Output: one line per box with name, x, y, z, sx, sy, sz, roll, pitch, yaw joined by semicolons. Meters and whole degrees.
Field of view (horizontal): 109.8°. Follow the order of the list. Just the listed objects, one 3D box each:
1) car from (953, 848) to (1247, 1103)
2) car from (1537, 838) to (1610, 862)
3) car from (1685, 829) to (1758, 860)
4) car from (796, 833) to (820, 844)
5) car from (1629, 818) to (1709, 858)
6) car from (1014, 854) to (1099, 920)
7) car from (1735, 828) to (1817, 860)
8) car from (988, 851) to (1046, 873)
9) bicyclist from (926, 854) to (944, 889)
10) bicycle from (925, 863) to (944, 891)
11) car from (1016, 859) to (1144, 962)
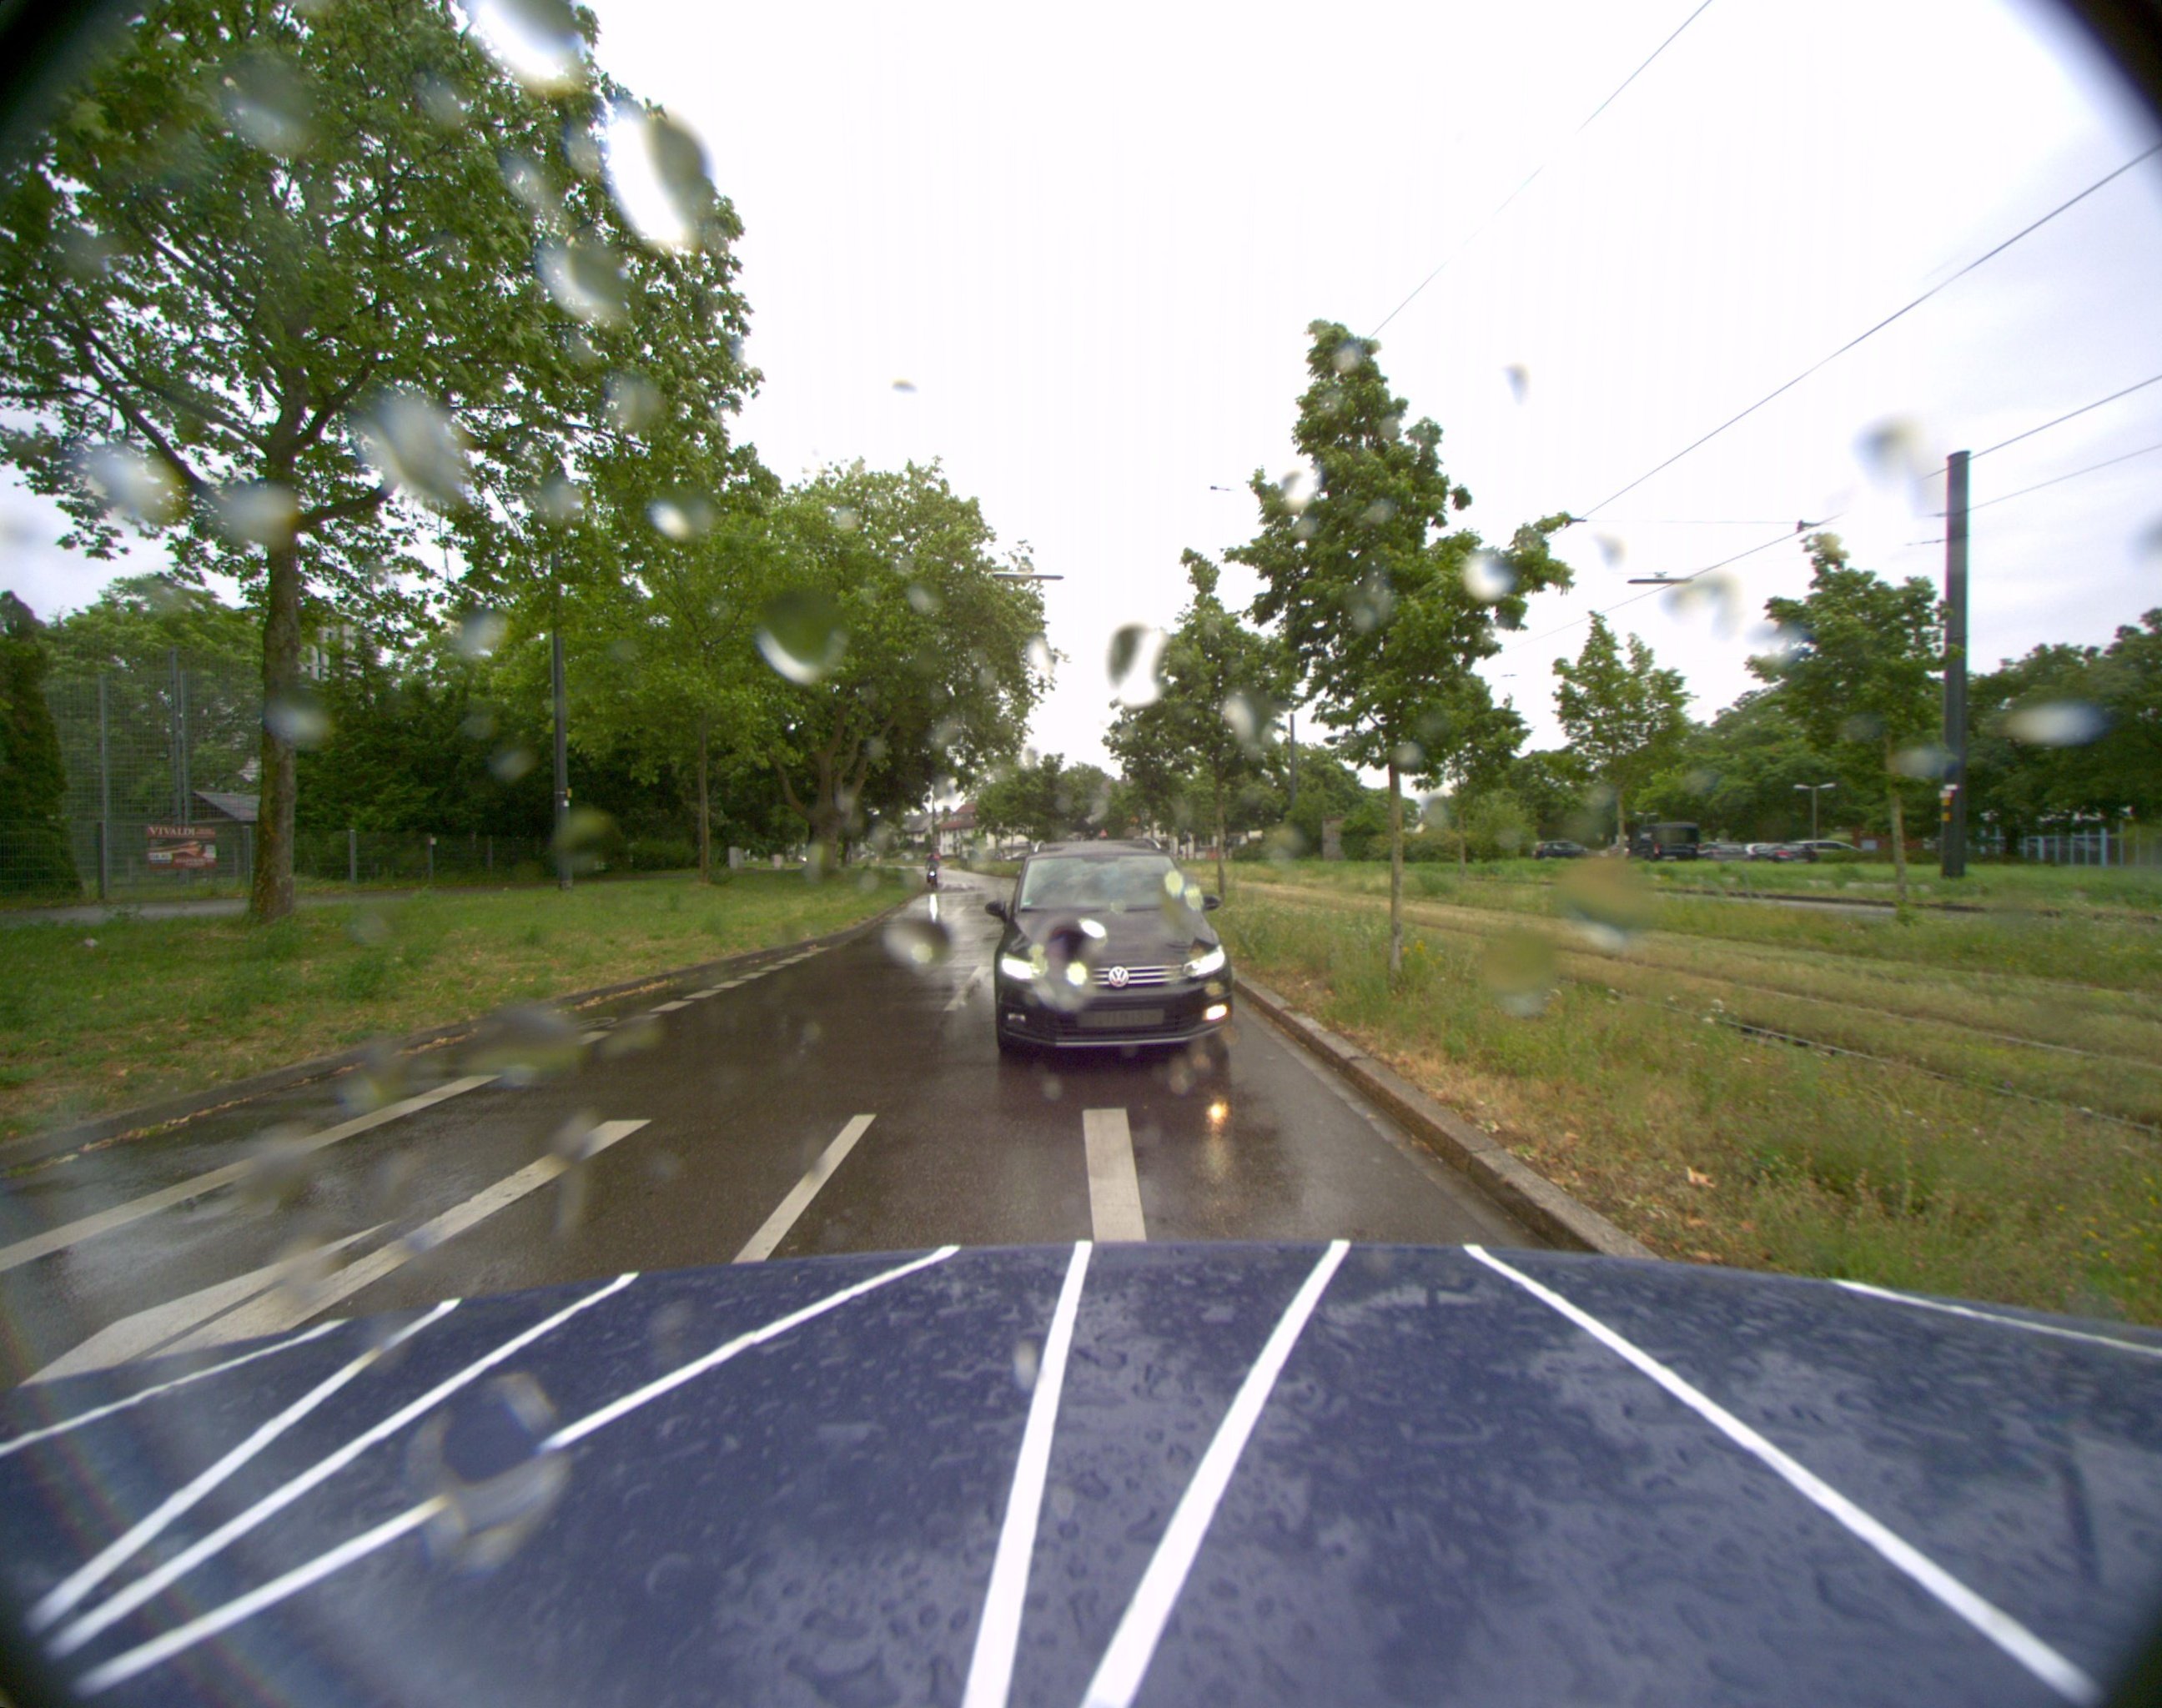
car;0.152;0.783;7.233;1.866;1.592;4.524;-2;1;1
car;34.761;-0.285;53.755;4.172;1.474;1.786;-2;1;27
car;34.652;-0.536;41.267;1.752;1.522;4.856;-2;1;24
car;-51.694;-2.958;143.914;4.004;1.816;1.996;-3;1;-24
car;32.012;-0.879;41.585;2.307;2.002;5.125;-2;1;24
car;-0.706;0.754;19.116;1.789;1.396;3.791;-2;1;-6
car;36.559;-0.561;40.118;2.057;1.564;5.024;-2;1;29
car;-4.695;0.568;55.633;4.046;1.412;1.674;-2;1;-10
bicyclist;-6.458;0.763;33.552;0.693;1.497;0.843;-2;2;-8
bicycle;-6.452;1.011;33.562;0.693;1.110;1.883;-2;1;-8
car;-0.081;0.825;12.945;1.788;1.355;3.996;-2;1;-2
